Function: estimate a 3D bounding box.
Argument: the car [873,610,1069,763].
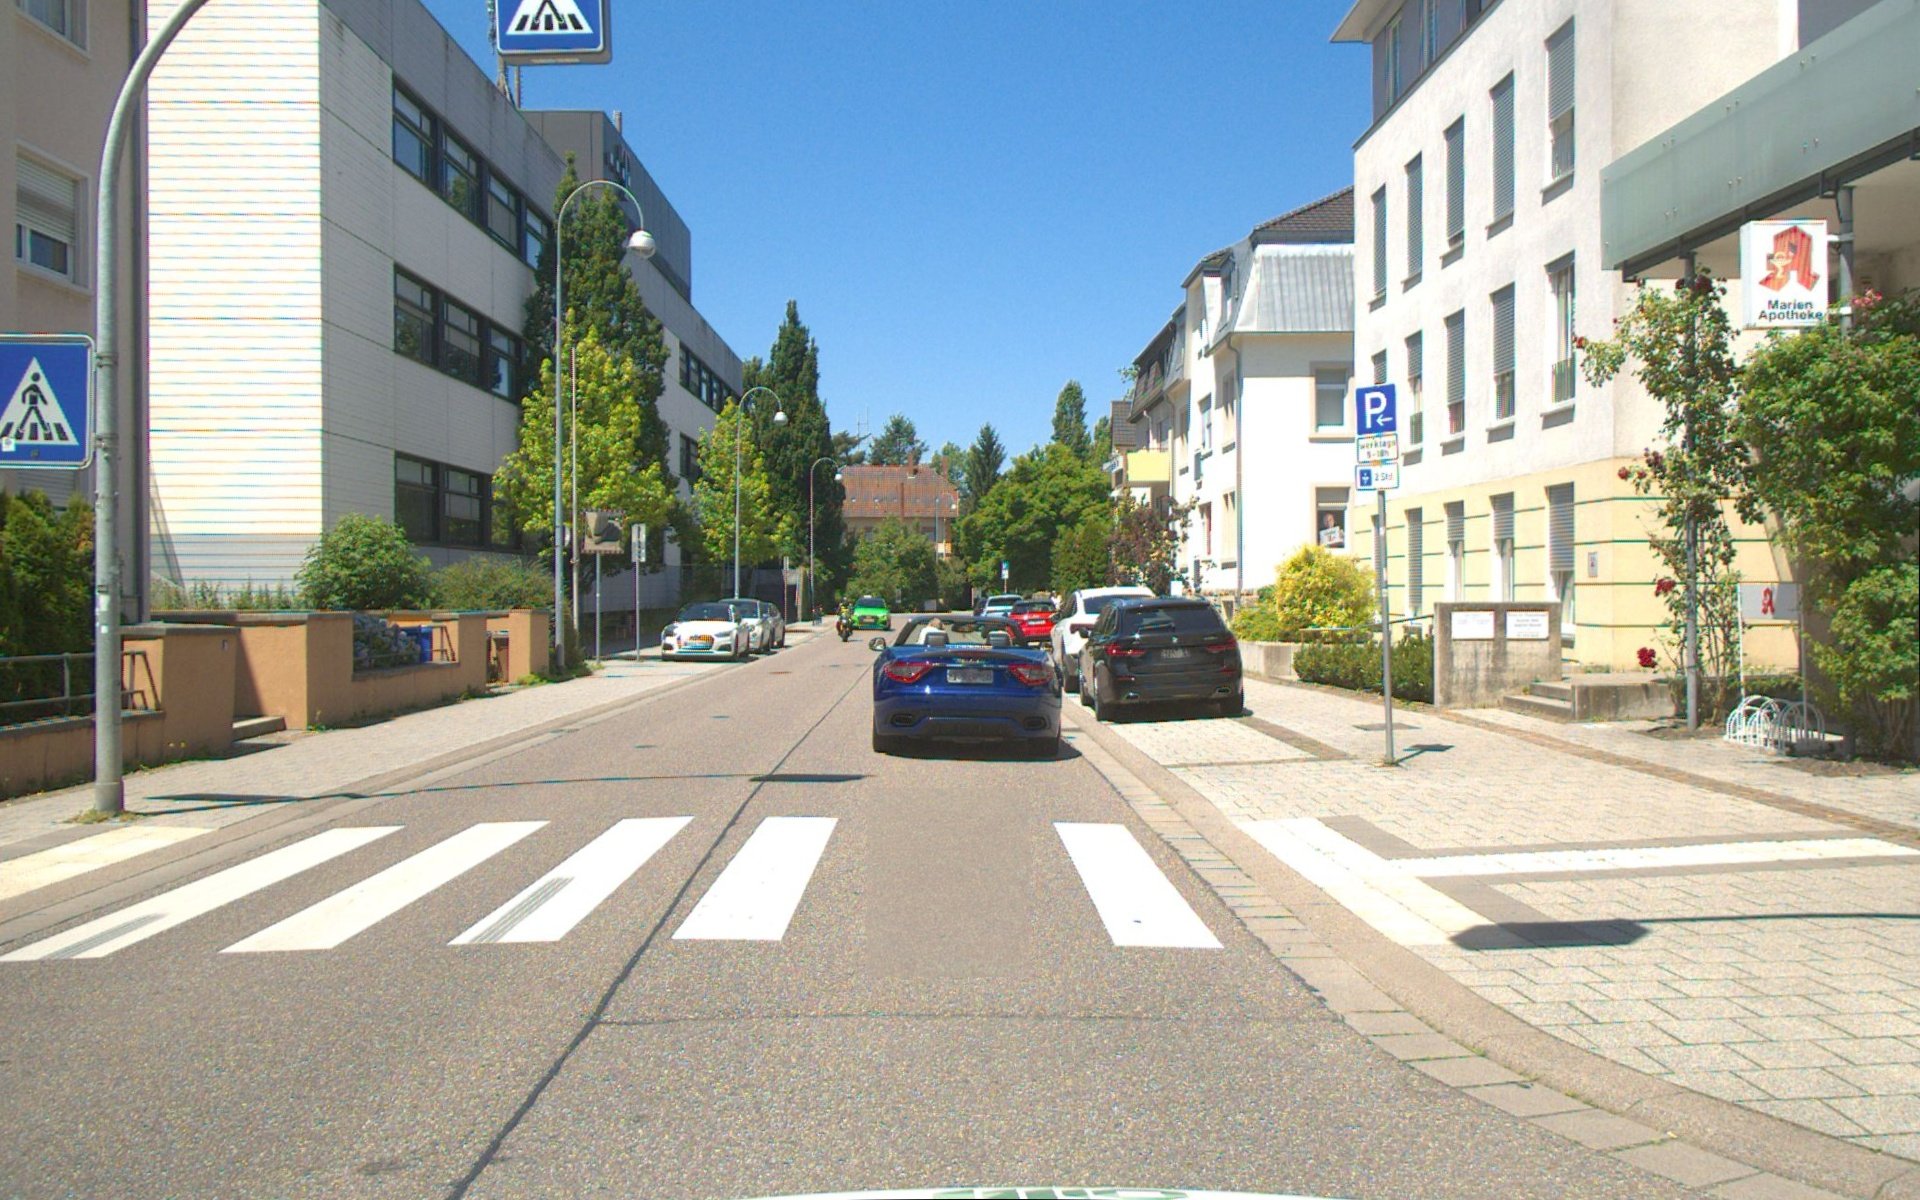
[{"bbox_3d":[0.067,0.815,17.644,1.789,1.360,4.699,1,0,-1],"label":"car"}]

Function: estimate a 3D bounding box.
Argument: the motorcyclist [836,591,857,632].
[{"bbox_3d":[-4.046,0.403,59.070,0.684,1.458,0.707,-2,0,-1],"label":"motorcyclist"}]

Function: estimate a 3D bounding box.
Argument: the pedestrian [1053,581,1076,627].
[{"bbox_3d":[4.013,0.149,63.638,0.725,1.698,0.705,-3,0,-3],"label":"pedestrian"}]

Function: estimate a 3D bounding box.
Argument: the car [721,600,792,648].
[{"bbox_3d":[-6.410,0.744,52.439,1.712,1.434,3.933,1,0,0],"label":"car"}]

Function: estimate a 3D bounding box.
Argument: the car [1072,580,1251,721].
[{"bbox_3d":[2.555,0.589,21.995,1.670,1.583,4.747,-3,0,-1],"label":"car"}]

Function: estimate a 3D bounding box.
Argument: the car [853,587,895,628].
[{"bbox_3d":[-3.941,0.318,76.074,1.785,1.616,4.101,0,3,-1],"label":"car"}]

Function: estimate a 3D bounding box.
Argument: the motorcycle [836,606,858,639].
[{"bbox_3d":[-4.042,0.791,59.241,0.684,1.126,1.790,-2,0,-1],"label":"motorcycle"}]

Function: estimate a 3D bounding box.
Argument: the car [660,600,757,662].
[{"bbox_3d":[-6.299,0.737,41.921,1.785,1.436,4.576,2,0,-1],"label":"car"}]

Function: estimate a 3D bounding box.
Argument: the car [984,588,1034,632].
[{"bbox_3d":[1.925,0.365,66.413,1.806,1.647,4.427,-2,0,0],"label":"car"}]

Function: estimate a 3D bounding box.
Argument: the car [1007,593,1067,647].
[{"bbox_3d":[2.275,0.581,49.655,1.571,1.466,3.853,-3,0,0],"label":"car"}]

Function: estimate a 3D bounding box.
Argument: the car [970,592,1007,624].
[{"bbox_3d":[1.357,0.378,81.110,1.599,1.471,4.397,-3,0,-1],"label":"car"}]

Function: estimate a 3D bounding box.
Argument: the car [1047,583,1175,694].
[{"bbox_3d":[2.477,0.595,28.137,1.670,1.695,4.579,-1,0,-1],"label":"car"}]

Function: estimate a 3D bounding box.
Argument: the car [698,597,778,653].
[{"bbox_3d":[-6.345,0.697,47.716,1.785,1.538,4.288,0,0,-1],"label":"car"}]
